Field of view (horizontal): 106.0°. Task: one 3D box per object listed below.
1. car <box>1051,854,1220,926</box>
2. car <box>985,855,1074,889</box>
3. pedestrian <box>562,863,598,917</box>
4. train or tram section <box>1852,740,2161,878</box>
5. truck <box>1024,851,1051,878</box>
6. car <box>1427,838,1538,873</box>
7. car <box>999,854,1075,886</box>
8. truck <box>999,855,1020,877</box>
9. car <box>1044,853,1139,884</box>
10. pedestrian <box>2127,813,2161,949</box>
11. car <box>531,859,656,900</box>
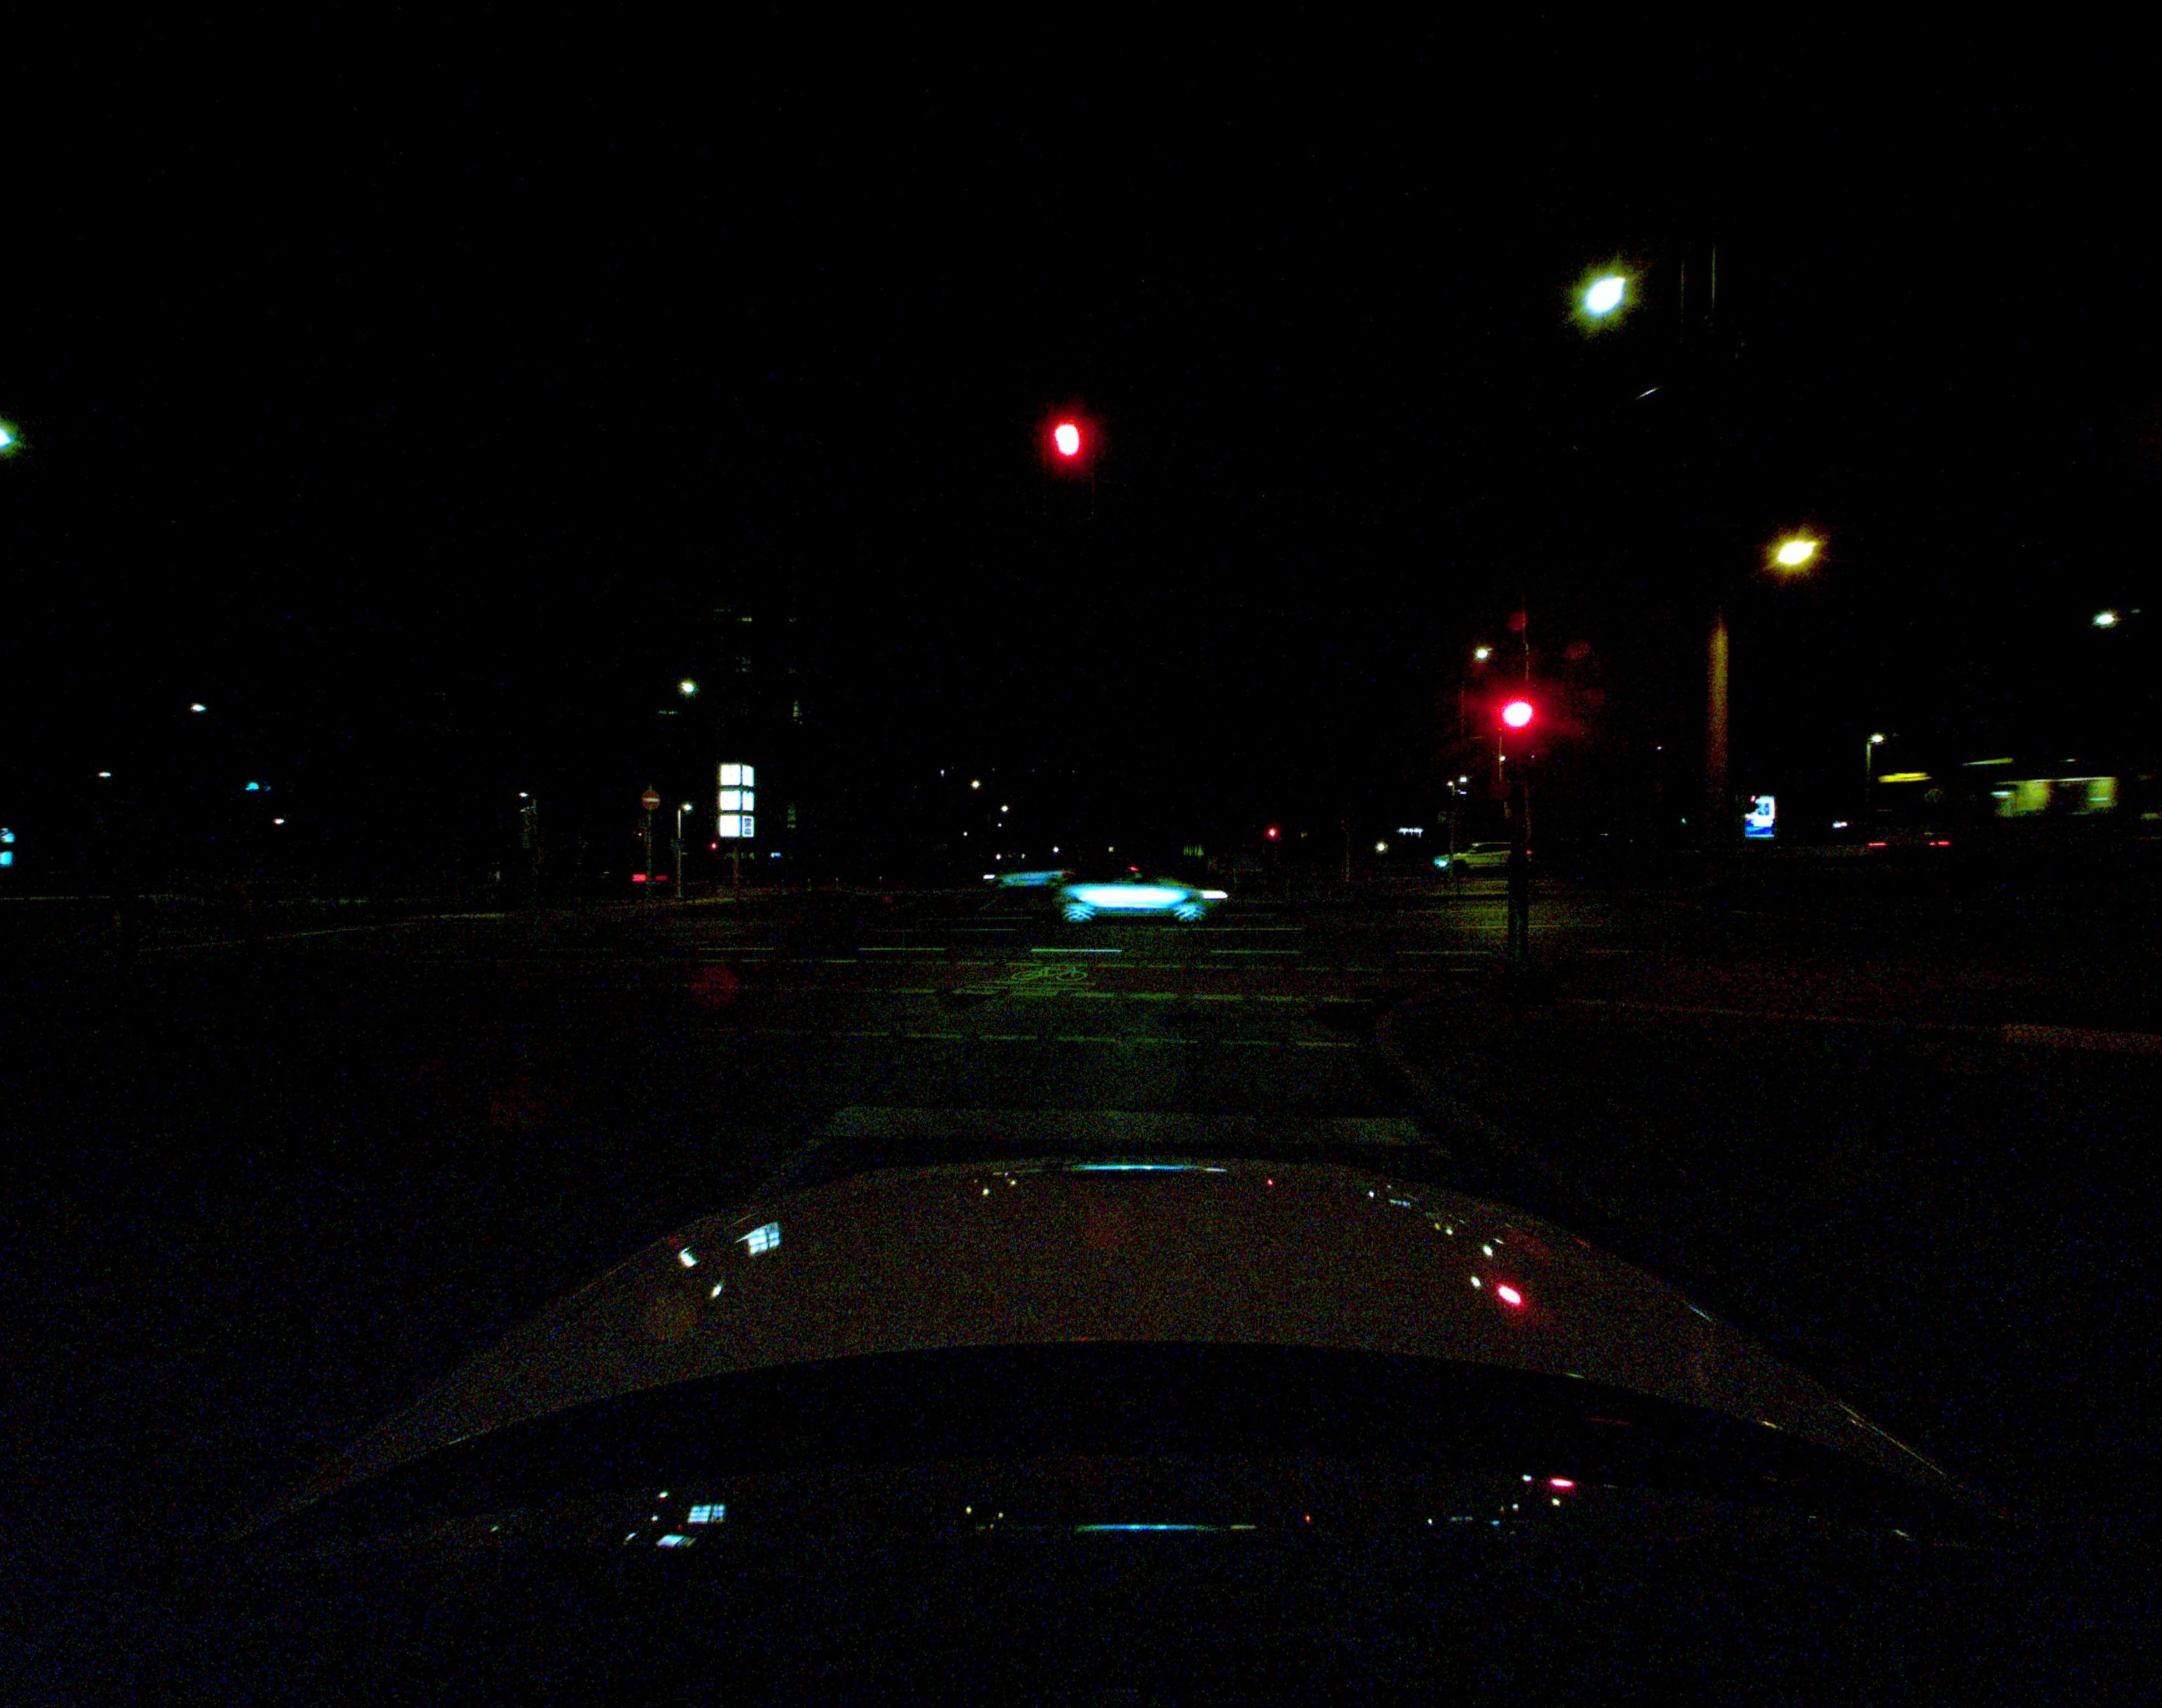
[{"bbox_3d":[1.277,0.811,18.887,3.669,1.420,1.645,-3,0,5],"label":"car"},{"bbox_3d":[-2.344,0.830,37.580,3.817,1.486,1.871,0,-1,5],"label":"car"},{"bbox_3d":[-16.259,1.168,26.449,0.700,1.722,0.681,0,-1,10],"label":"pedestrian"},{"bbox_3d":[34.806,-1.526,24.968,18.328,3.849,2.970,-2,1,5],"label":"train or tram section"},{"bbox_3d":[-7.995,1.908,149.248,3.366,4.843,7.865,0,-1,-14],"label":"truck"},{"bbox_3d":[19.273,0.096,39.265,4.377,1.644,1.944,0,-1,5],"label":"car"},{"bbox_3d":[-2.345,0.861,44.237,3.798,1.631,1.816,-1,0,8],"label":"car"},{"bbox_3d":[-10.600,1.792,120.376,2.419,3.089,6.412,0,-1,-11],"label":"truck"},{"bbox_3d":[0.563,0.719,40.212,4.553,1.486,1.781,0,0,5],"label":"car"},{"bbox_3d":[13.672,0.295,9.913,0.870,1.656,0.843,-7,-5,42],"label":"pedestrian"},{"bbox_3d":[-23.395,1.219,39.181,4.920,1.884,1.871,0,-1,5],"label":"car"}]
